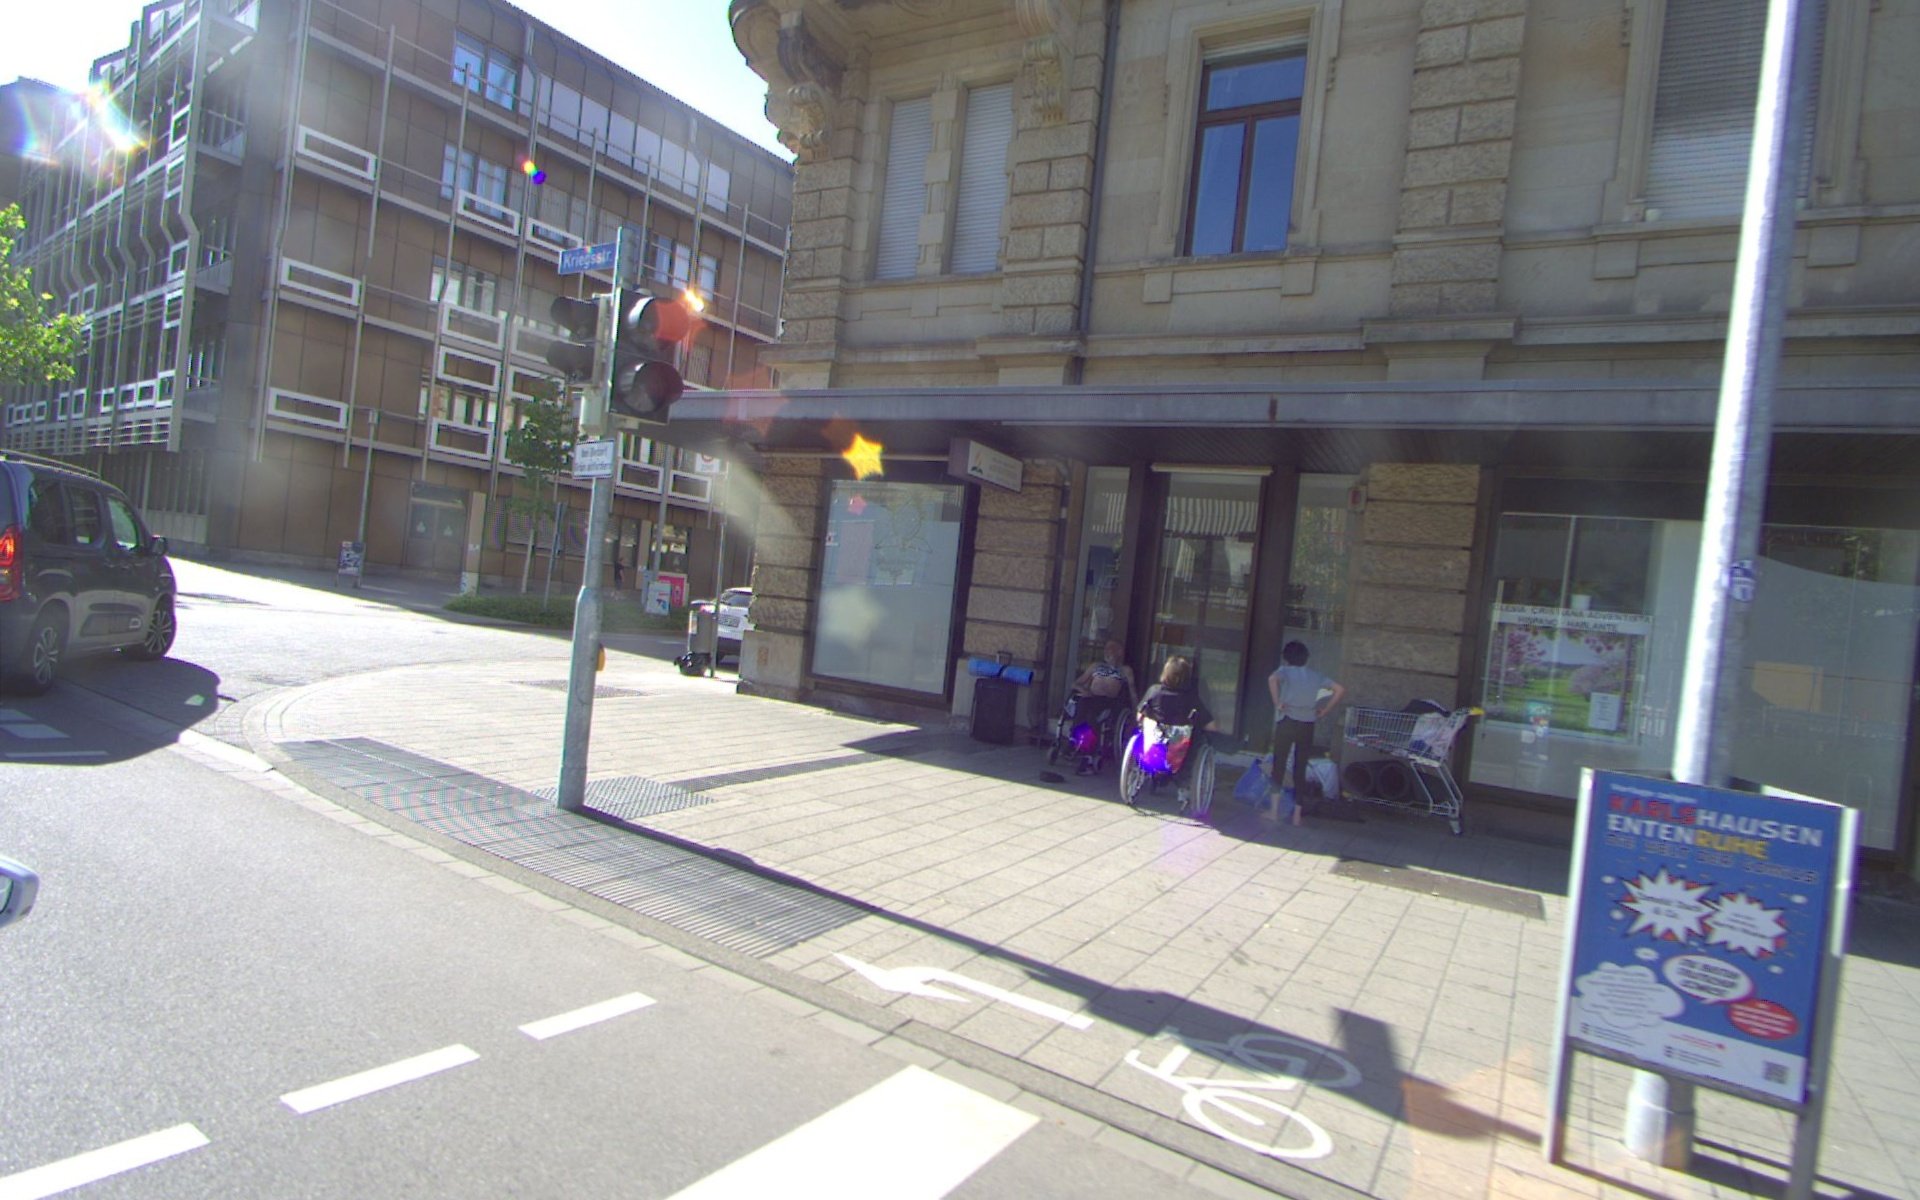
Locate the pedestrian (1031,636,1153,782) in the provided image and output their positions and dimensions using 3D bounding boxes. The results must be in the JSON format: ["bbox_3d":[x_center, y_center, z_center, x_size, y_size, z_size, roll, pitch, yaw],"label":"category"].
[{"bbox_3d":[1.271,0.991,9.567,0.691,1.234,1.072,6,2,30],"label":"pedestrian"}]

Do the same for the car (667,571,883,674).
[{"bbox_3d":[-3.353,0.484,19.193,1.819,1.562,4.407,6,-1,23],"label":"car"}]

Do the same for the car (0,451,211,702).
[{"bbox_3d":[-8.326,-0.316,8.727,1.793,1.774,4.146,6,0,-22],"label":"car"}]

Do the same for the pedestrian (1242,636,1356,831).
[{"bbox_3d":[2.686,1.020,7.953,0.637,1.413,0.573,6,2,29],"label":"pedestrian"}]

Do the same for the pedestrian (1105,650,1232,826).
[{"bbox_3d":[1.635,1.040,7.873,0.637,1.234,0.716,6,2,36],"label":"pedestrian"}]

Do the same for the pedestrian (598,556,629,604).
[{"bbox_3d":[-13.897,-0.790,40.348,0.762,1.805,0.639,7,1,32],"label":"pedestrian"}]
